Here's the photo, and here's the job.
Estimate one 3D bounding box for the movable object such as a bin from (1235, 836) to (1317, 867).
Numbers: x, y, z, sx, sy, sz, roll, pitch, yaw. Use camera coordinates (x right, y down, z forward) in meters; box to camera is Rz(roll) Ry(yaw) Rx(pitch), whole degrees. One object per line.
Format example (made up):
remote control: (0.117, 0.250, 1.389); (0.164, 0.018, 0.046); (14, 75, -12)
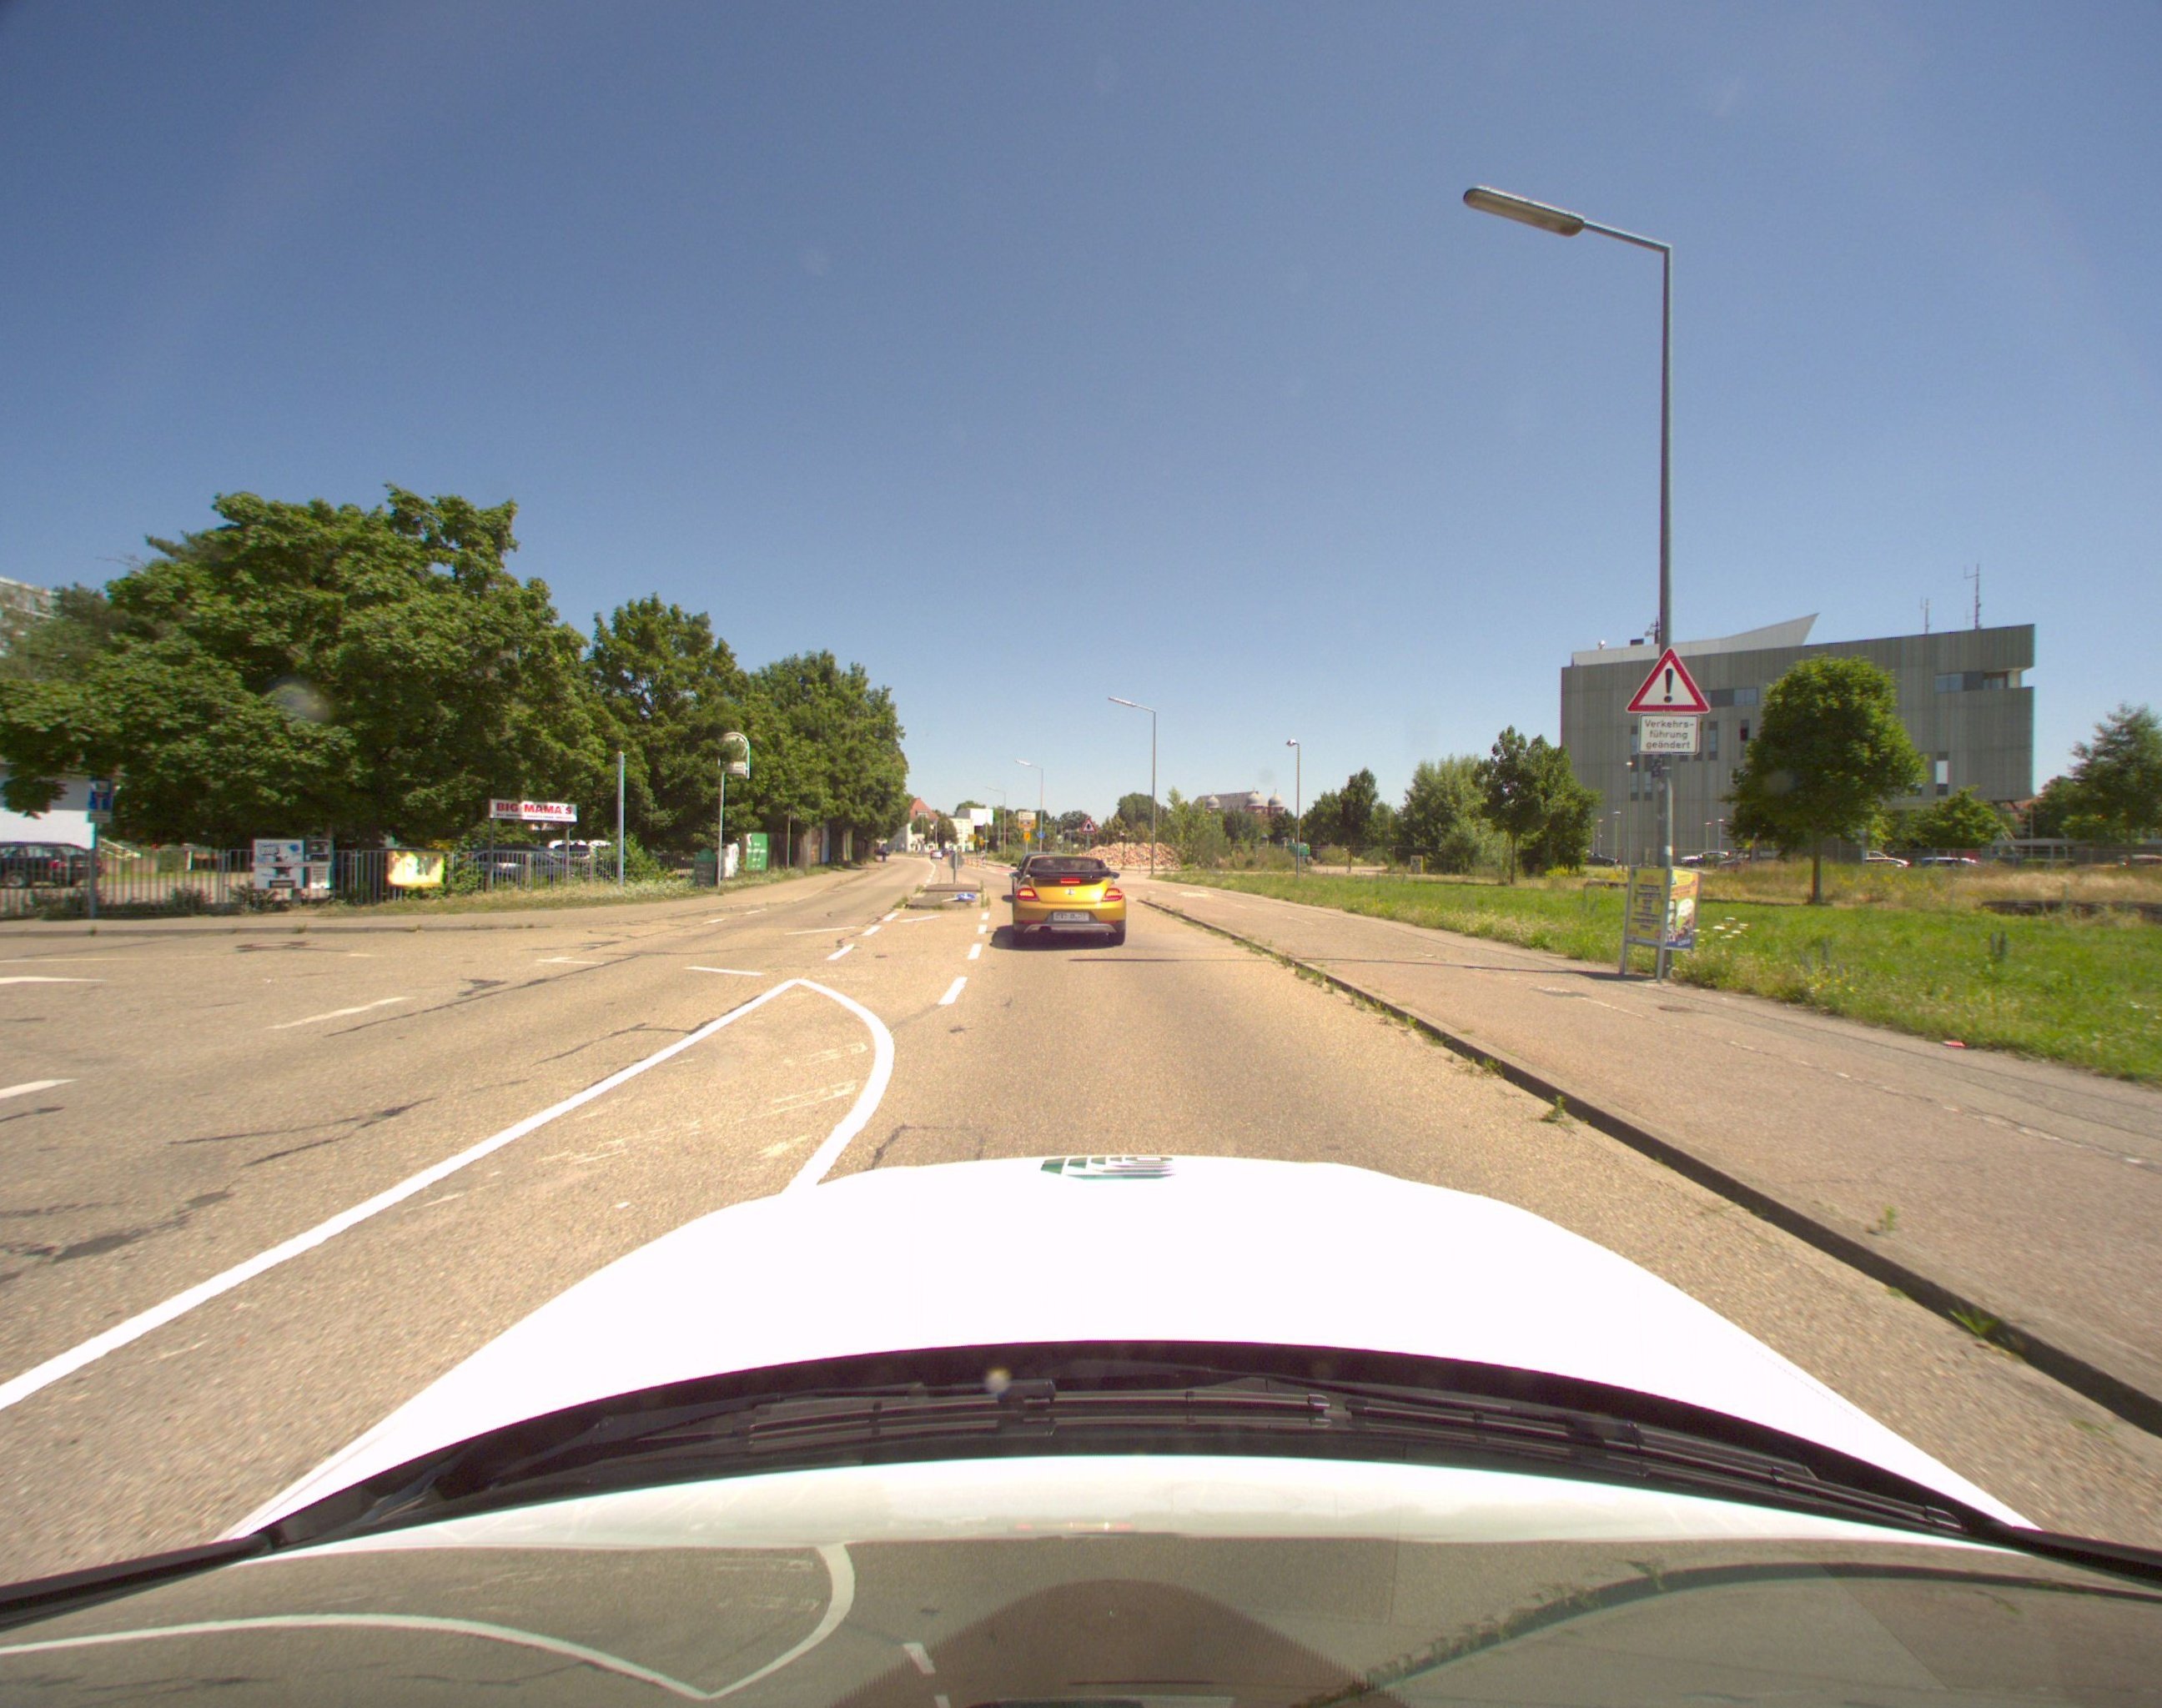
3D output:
movable object such as a bin: (21.881, -0.288, 92.436); (4.944, 3.260, 10.423); (0, 0, -13)

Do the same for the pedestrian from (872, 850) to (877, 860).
pedestrian: (-31.210, 0.112, 123.079); (0.724, 1.454, 0.814); (0, 0, -16)

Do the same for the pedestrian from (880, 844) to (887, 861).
pedestrian: (-20.739, -0.133, 85.617); (0.724, 1.725, 0.814); (0, 0, -16)

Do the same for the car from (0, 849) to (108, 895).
car: (-33.986, 0.554, 26.232); (3.131, 1.447, 1.540); (0, 0, -9)

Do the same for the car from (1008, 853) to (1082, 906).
car: (-1.158, 0.705, 24.282); (1.726, 1.443, 3.987); (0, 0, -9)

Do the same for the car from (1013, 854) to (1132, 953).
car: (-0.264, 0.735, 14.055); (1.787, 1.436, 3.808); (0, 0, -4)

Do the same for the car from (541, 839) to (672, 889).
car: (-19.588, 0.409, 33.765); (4.304, 1.977, 1.777); (0, 0, -9)

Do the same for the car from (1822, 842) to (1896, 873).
car: (59.827, 0.259, 62.706); (3.805, 2.294, 1.753); (0, 0, 31)

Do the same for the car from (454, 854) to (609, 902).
car: (-18.189, 0.751, 27.119); (3.860, 1.526, 1.805); (0, 0, -9)

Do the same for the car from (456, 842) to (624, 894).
car: (-19.911, 0.489, 30.146); (4.812, 1.840, 1.998); (0, 0, -3)
